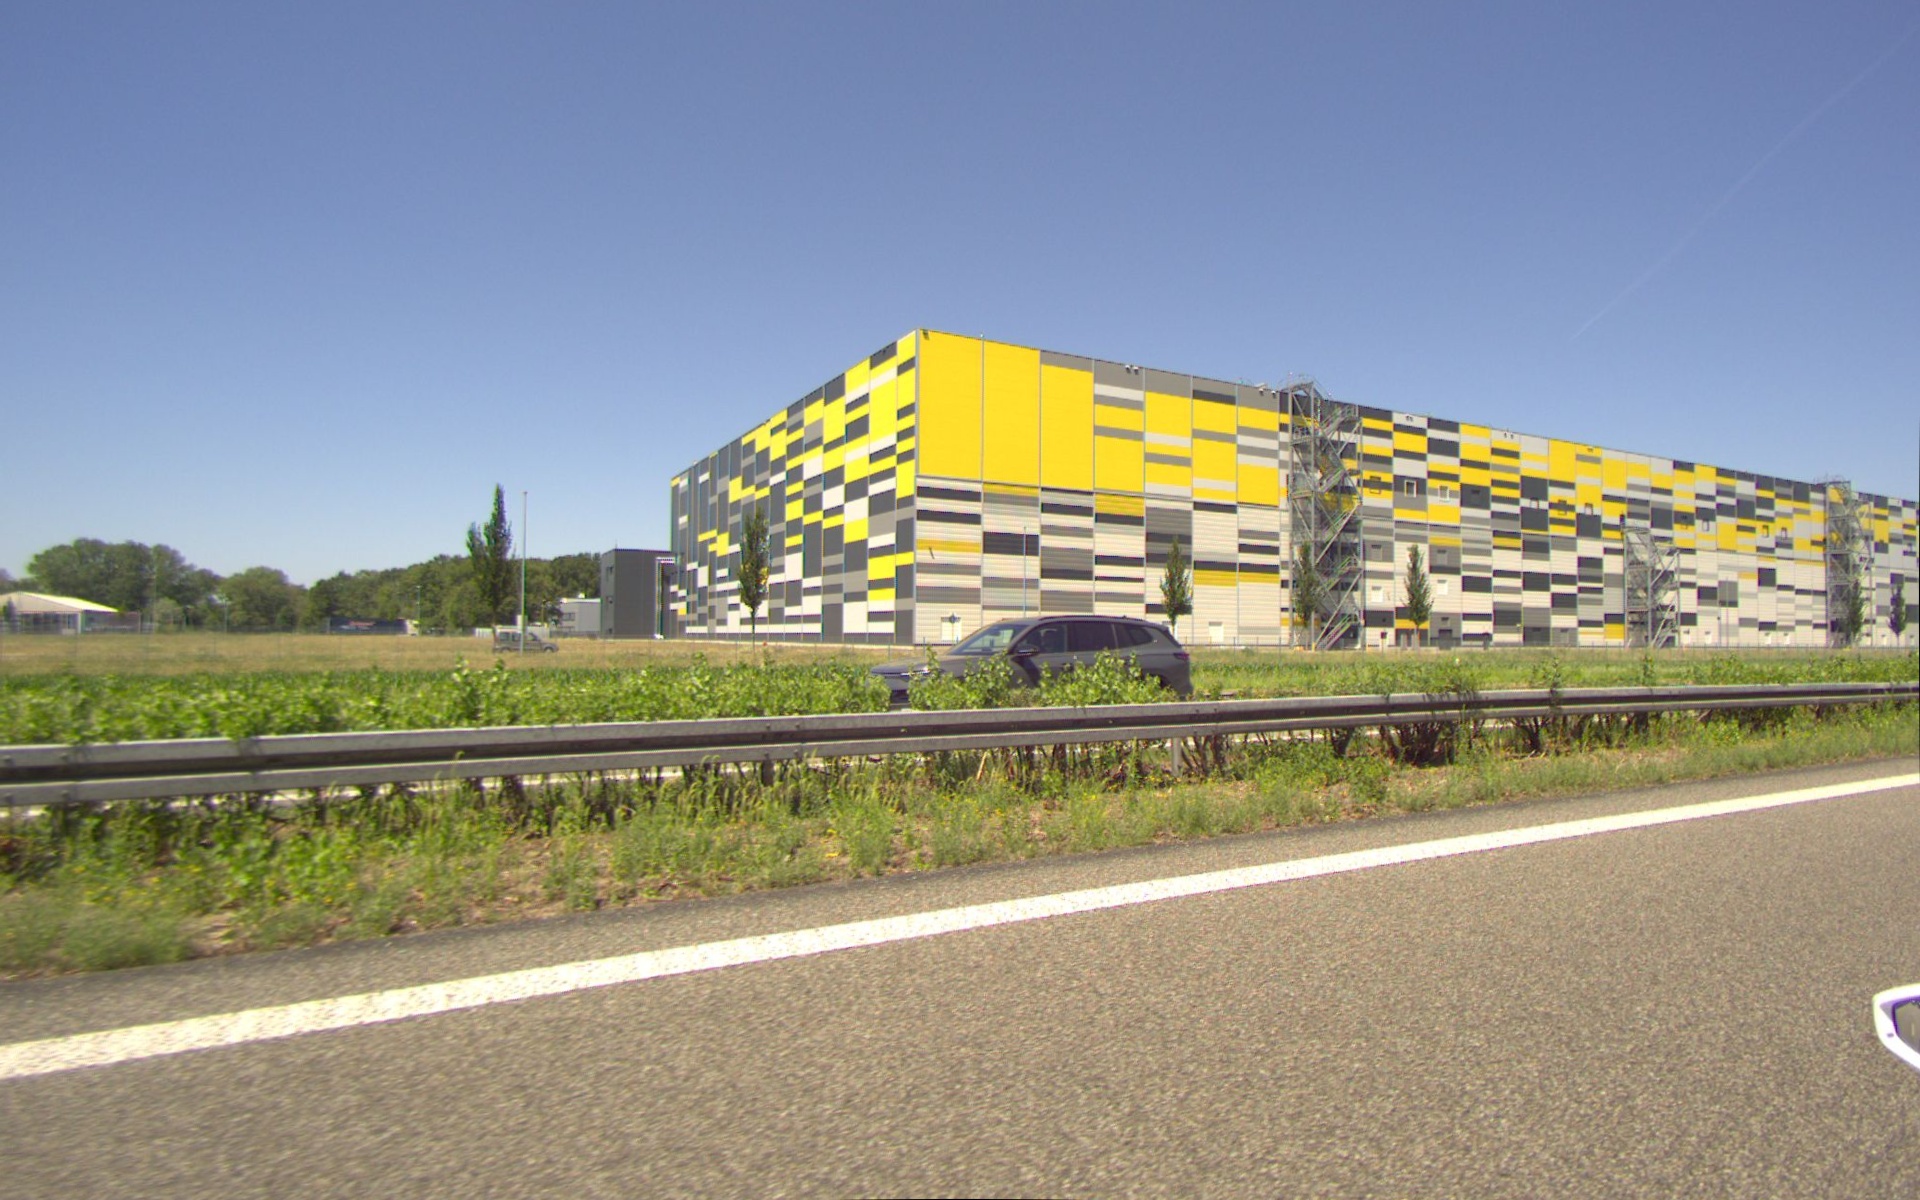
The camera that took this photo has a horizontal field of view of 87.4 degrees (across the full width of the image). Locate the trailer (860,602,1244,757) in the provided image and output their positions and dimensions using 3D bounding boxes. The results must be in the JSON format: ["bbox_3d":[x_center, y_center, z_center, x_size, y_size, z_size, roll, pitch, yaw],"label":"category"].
[{"bbox_3d":[1.365,1.026,13.913,5.176,1.813,1.935,2,-2,-30],"label":"trailer"}]

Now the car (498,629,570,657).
[{"bbox_3d":[-27.246,2.755,64.223,4.064,1.750,1.676,2,-2,-31],"label":"car"}]
